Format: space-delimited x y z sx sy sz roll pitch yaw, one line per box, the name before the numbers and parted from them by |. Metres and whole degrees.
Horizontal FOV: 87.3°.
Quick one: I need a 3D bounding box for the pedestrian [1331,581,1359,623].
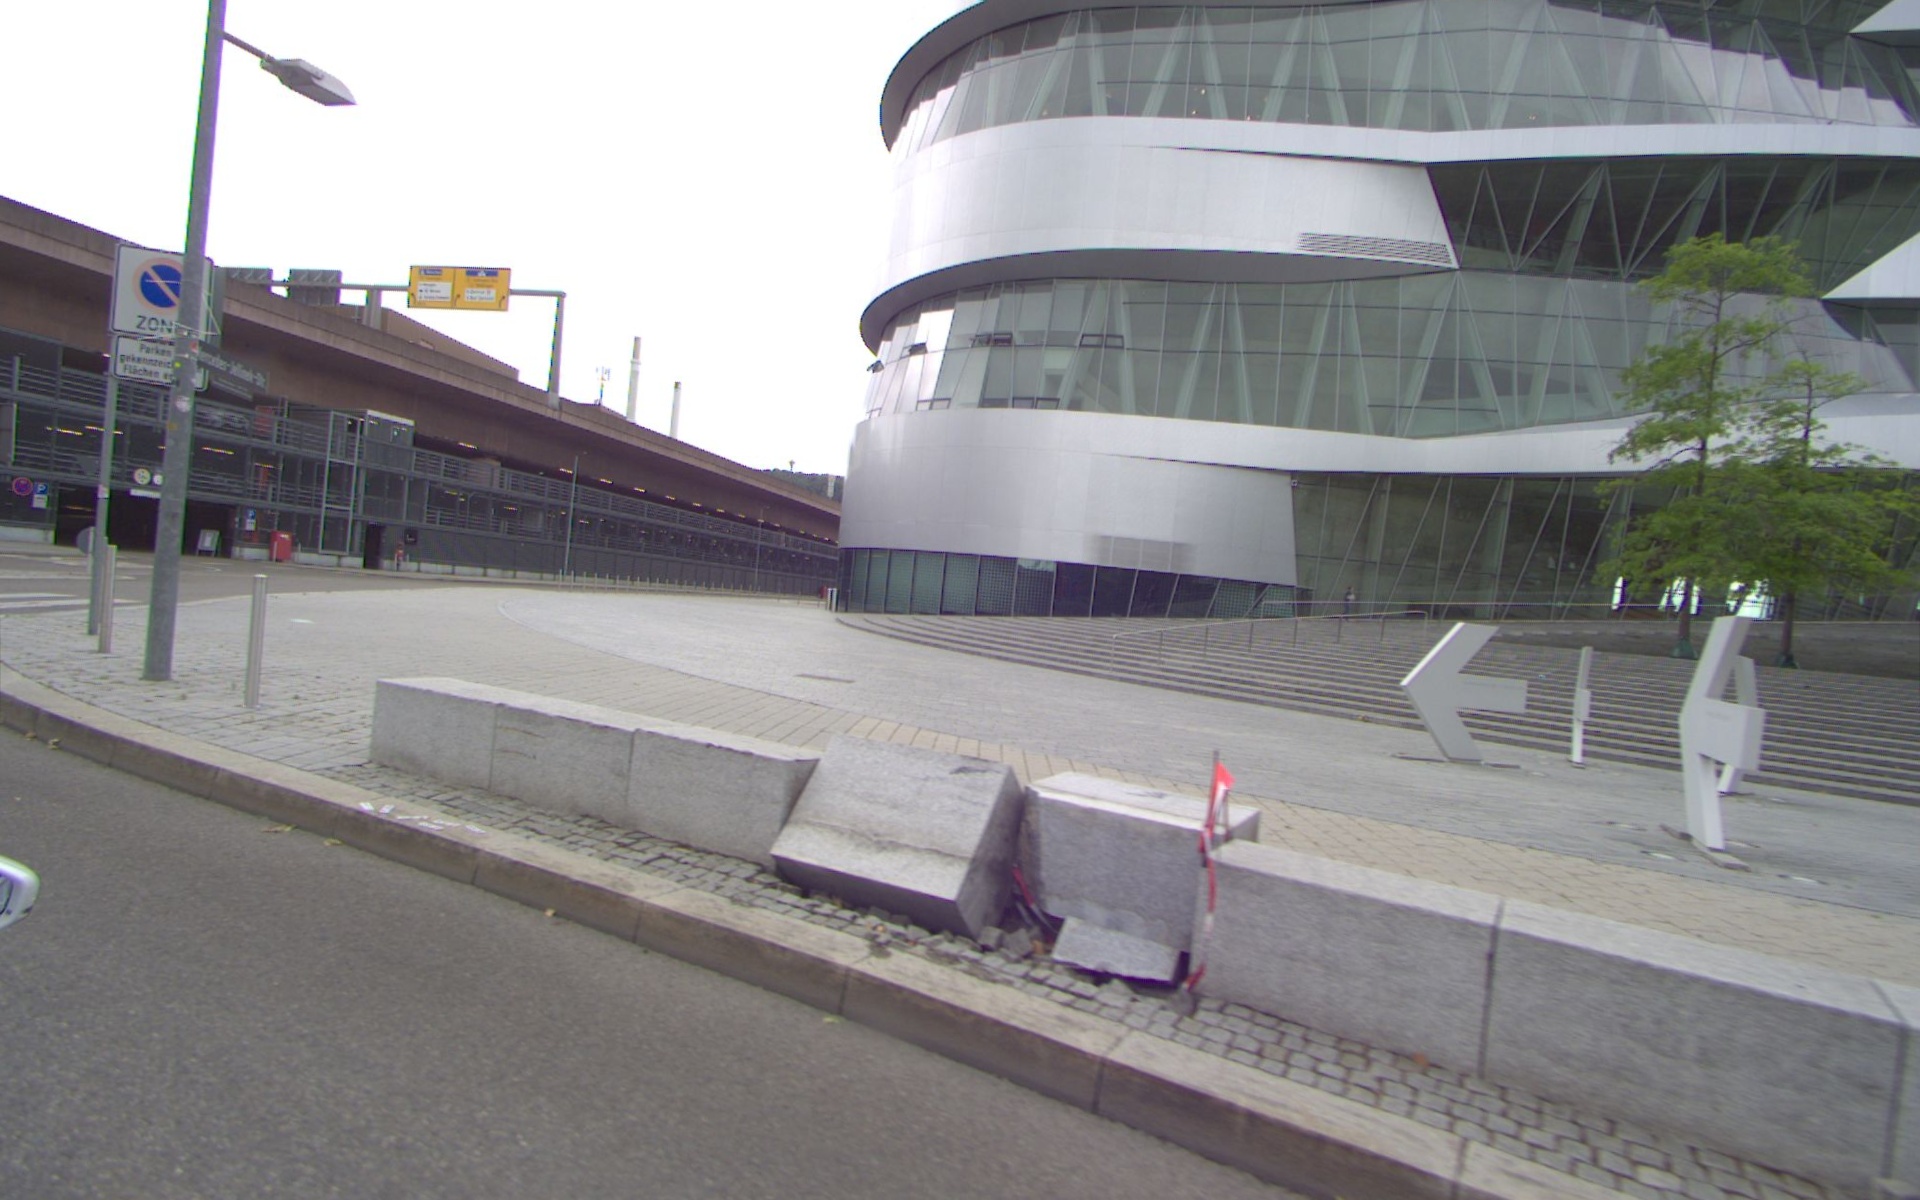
pedestrian | 18.085 0.101 47.292 0.934 1.949 0.853 2 0 2
